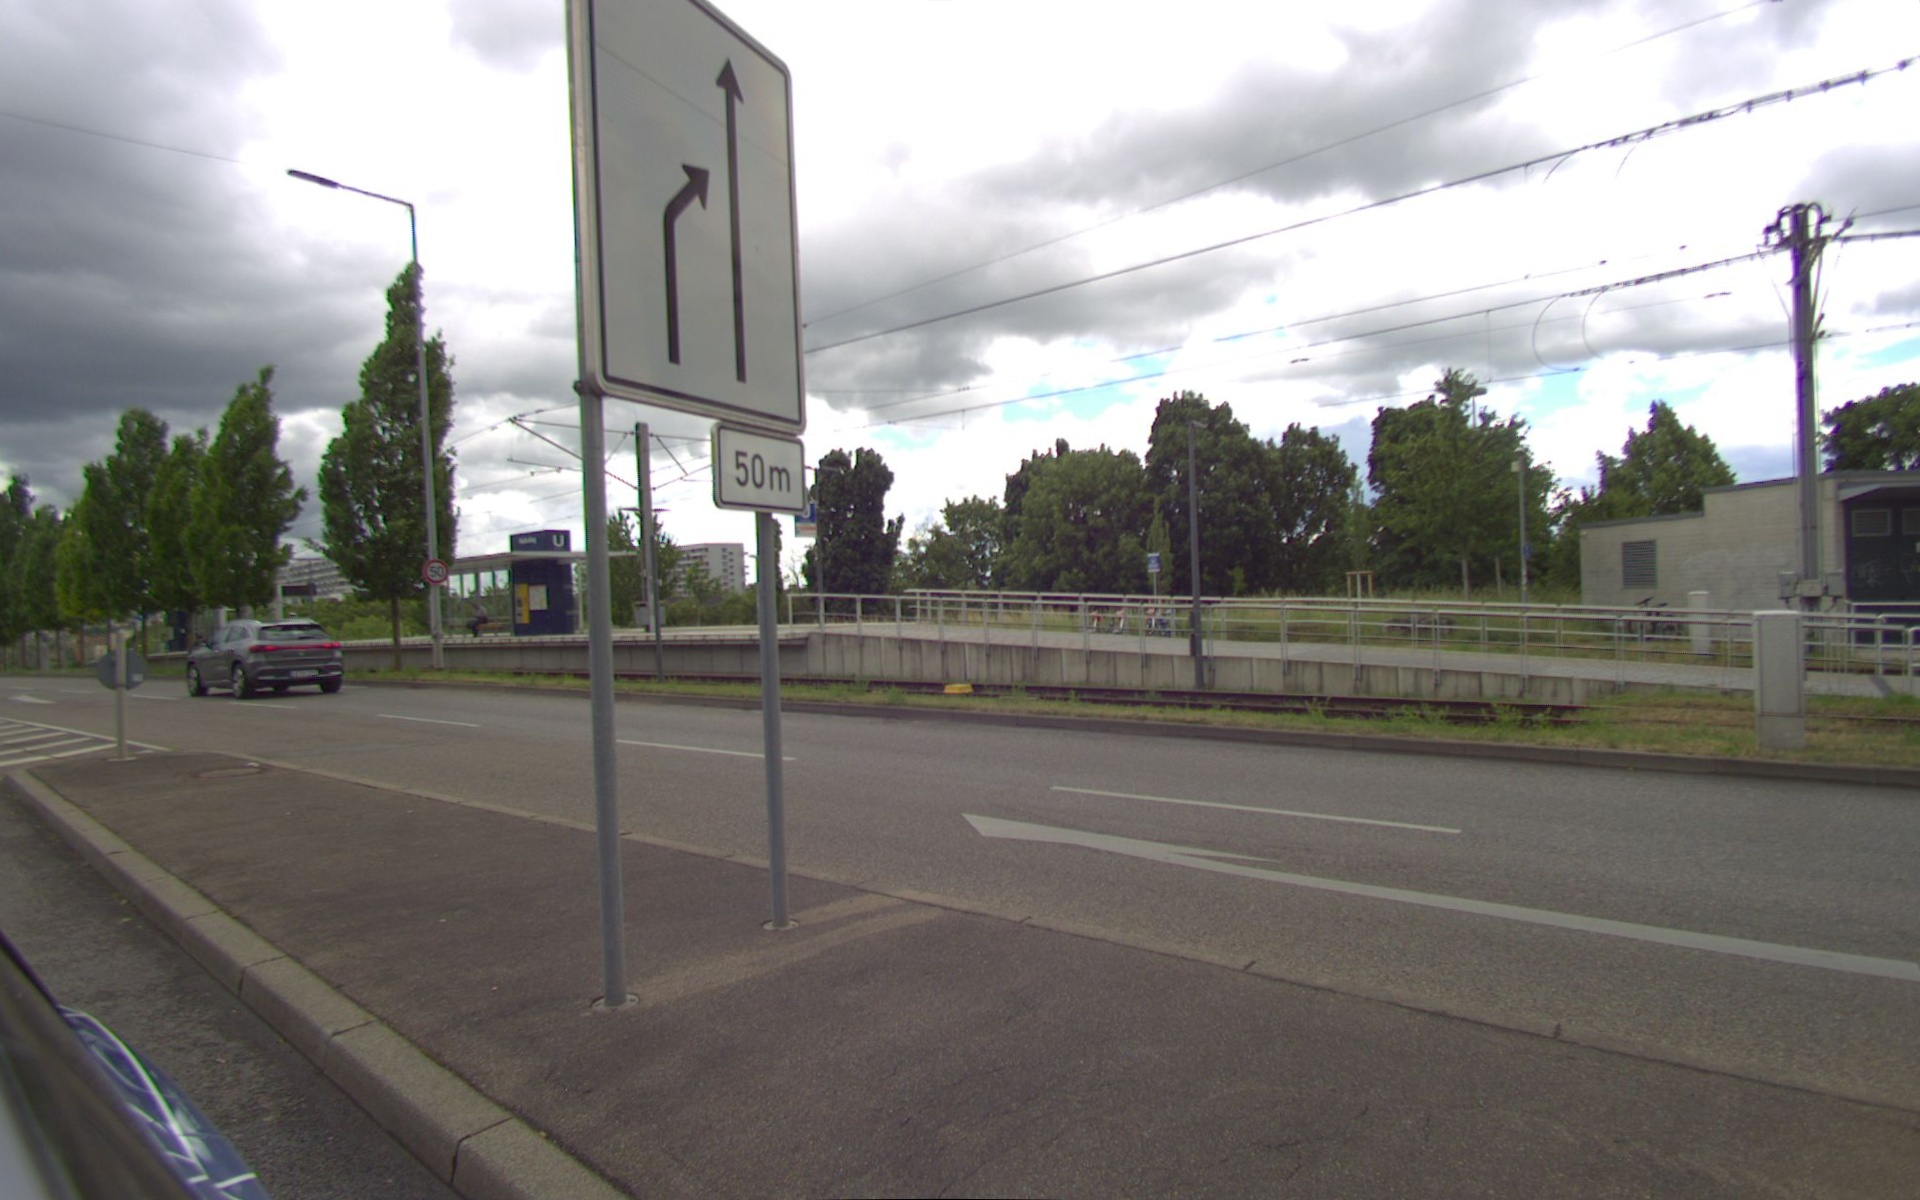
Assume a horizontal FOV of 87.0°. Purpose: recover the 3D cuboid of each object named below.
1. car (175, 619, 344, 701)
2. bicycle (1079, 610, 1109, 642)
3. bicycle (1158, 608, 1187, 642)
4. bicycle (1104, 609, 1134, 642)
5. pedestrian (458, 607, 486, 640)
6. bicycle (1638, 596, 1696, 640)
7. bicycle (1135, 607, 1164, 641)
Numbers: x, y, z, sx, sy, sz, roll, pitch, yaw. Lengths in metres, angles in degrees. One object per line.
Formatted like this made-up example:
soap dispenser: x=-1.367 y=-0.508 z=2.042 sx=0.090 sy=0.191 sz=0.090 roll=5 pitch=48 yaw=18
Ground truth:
car: x=-15.007 y=1.227 z=21.604 sx=4.218 sy=1.558 sz=1.761 roll=-2 pitch=-1 yaw=37
bicycle: x=4.674 y=0.894 z=35.157 sx=0.490 sy=1.095 sz=1.466 roll=-2 pitch=-1 yaw=30
bicycle: x=7.037 y=0.815 z=33.464 sx=0.490 sy=1.095 sz=1.466 roll=-2 pitch=-1 yaw=30
bicycle: x=5.431 y=0.867 z=34.456 sx=0.490 sy=1.095 sz=1.466 roll=-2 pitch=-1 yaw=30
pedestrian: x=-18.260 y=0.878 z=37.869 sx=0.781 sy=1.211 sz=0.656 roll=-2 pitch=-1 yaw=33
bicycle: x=18.186 y=0.457 z=26.056 sx=0.486 sy=1.095 sz=1.480 roll=-1 pitch=-1 yaw=3
bicycle: x=6.371 y=0.802 z=33.944 sx=0.490 sy=1.095 sz=1.466 roll=-2 pitch=-1 yaw=30
